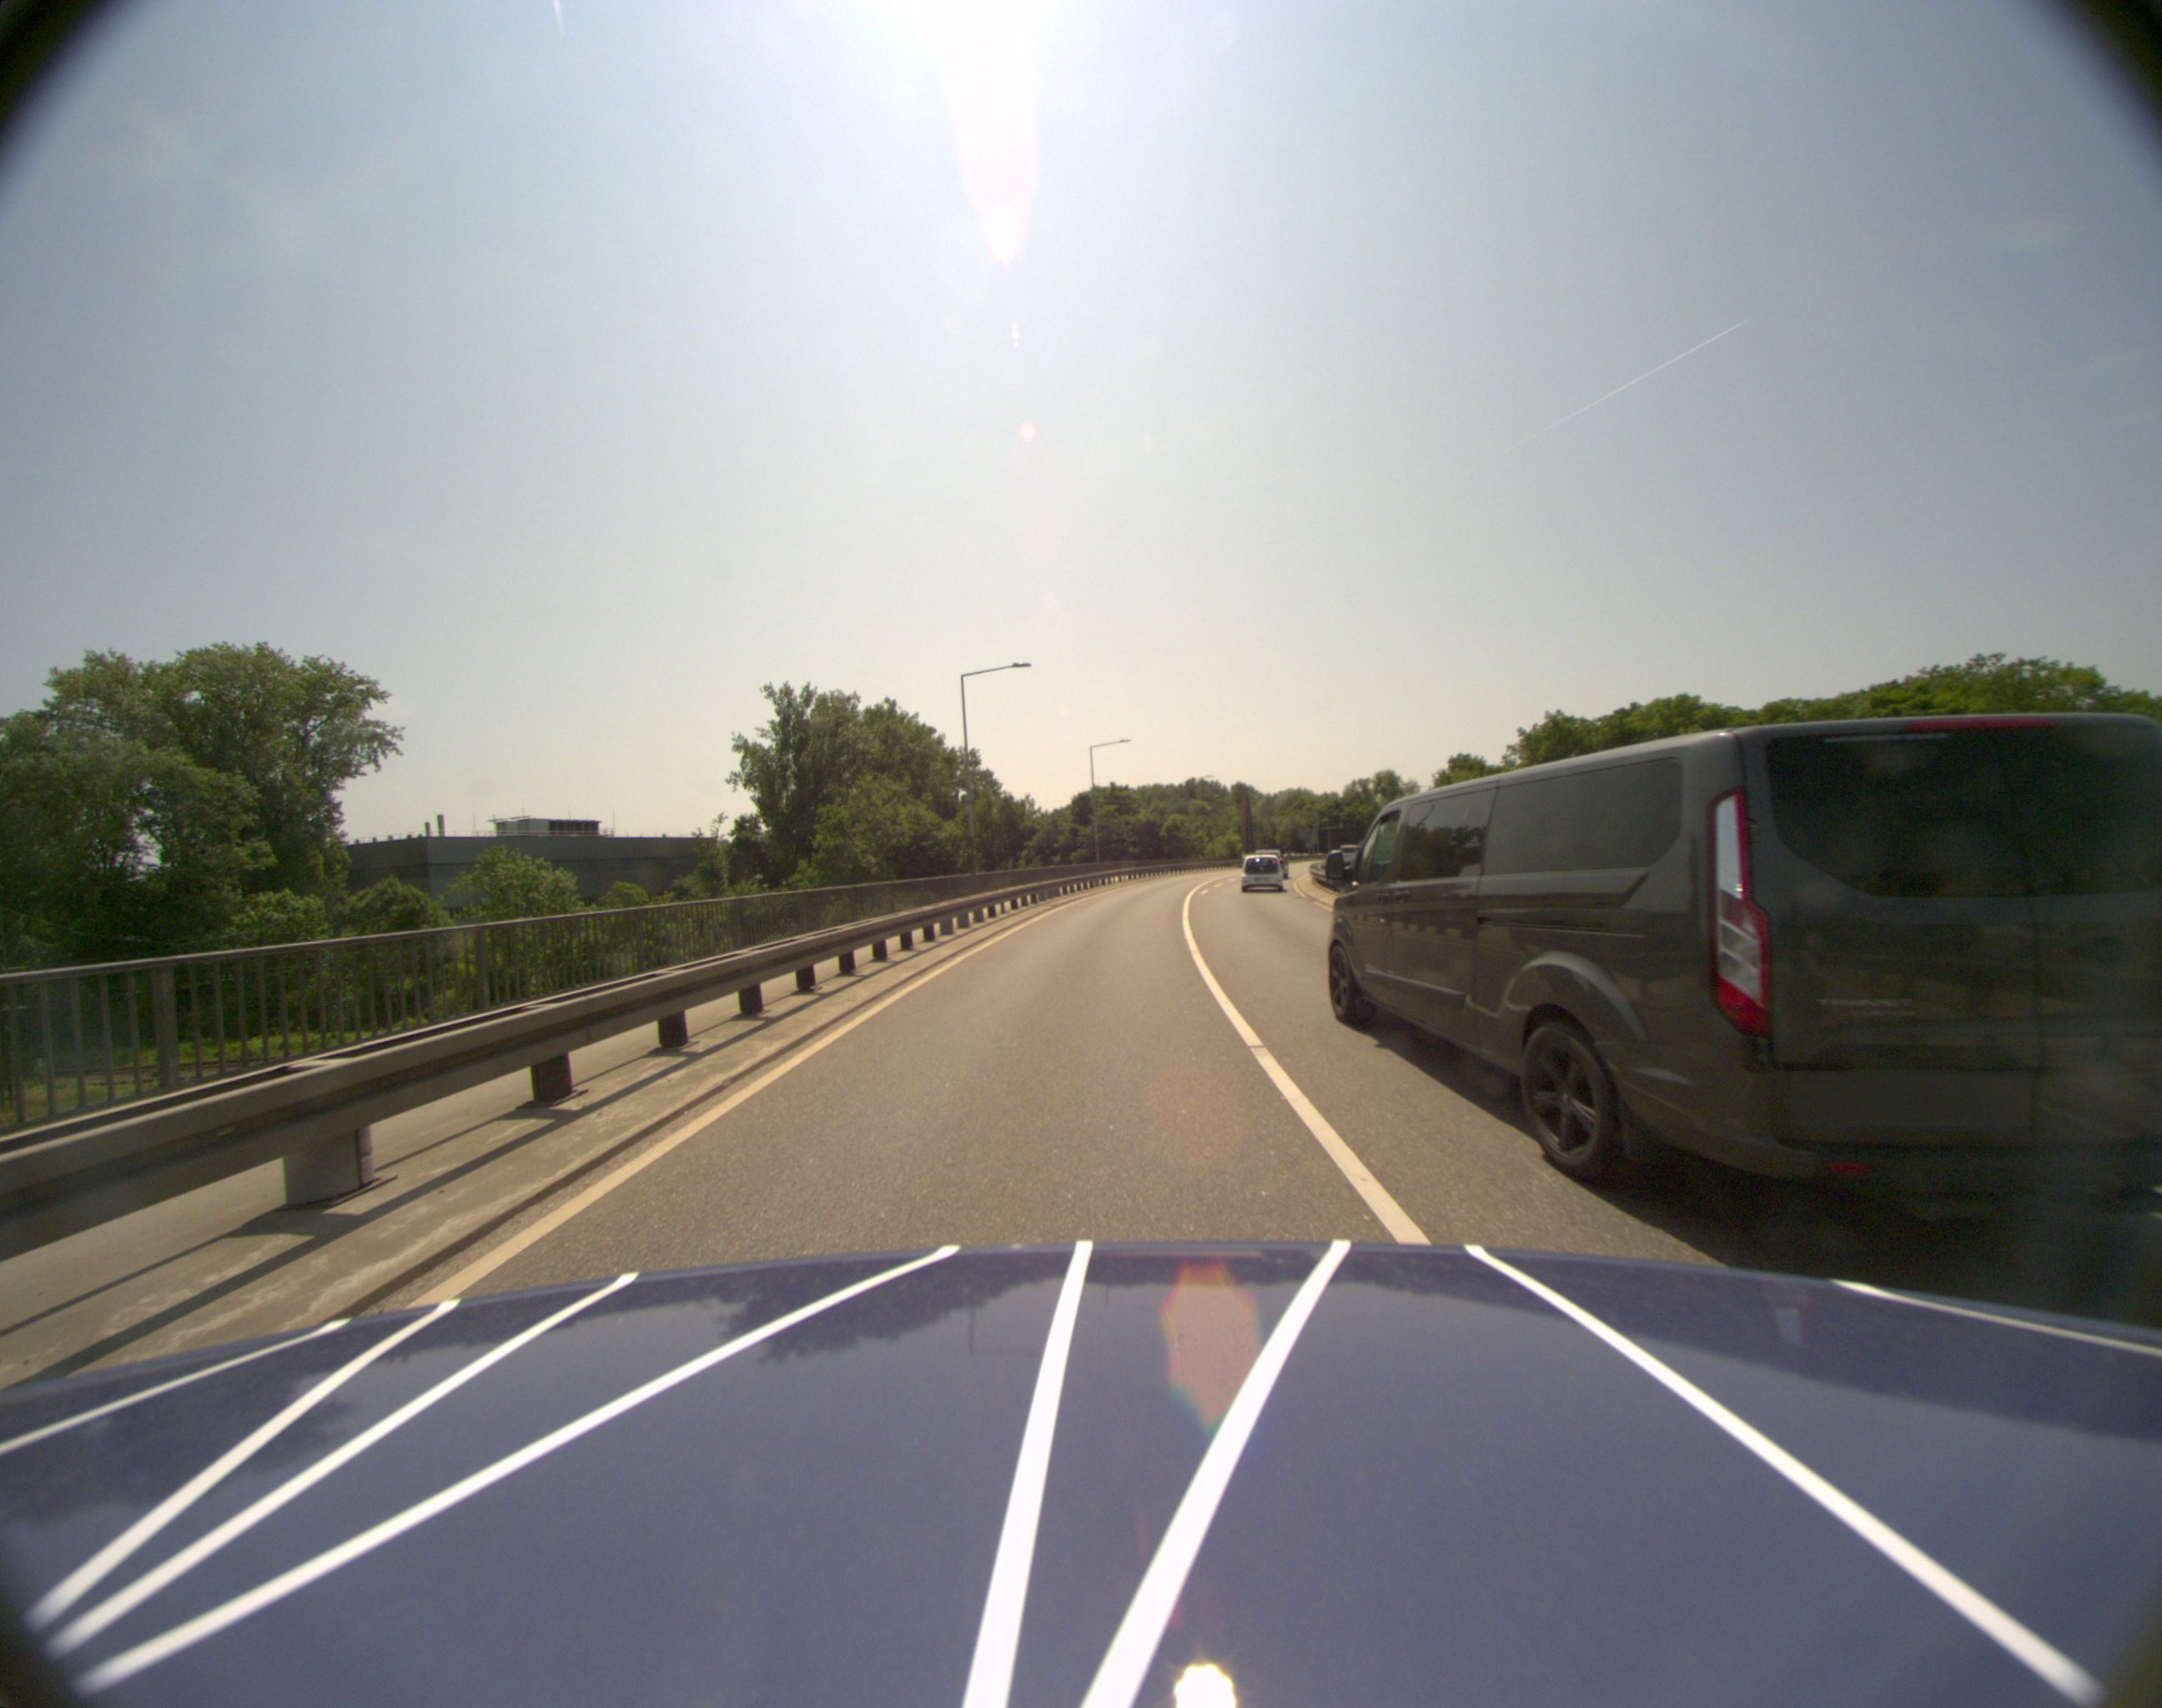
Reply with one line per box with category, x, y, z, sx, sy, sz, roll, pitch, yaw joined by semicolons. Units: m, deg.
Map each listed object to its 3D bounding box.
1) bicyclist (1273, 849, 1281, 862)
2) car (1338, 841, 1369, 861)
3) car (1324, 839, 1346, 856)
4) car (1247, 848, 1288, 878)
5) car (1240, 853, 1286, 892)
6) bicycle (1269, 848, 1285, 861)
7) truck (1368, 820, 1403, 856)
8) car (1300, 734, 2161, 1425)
bicyclist;25.411;0.186;98.704;0.671;1.589;0.690;-2;0;-23
car;28.136;-0.342;78.400;1.862;1.988;4.823;-1;0;33
car;33.049;-0.863;98.858;1.995;2.002;4.007;-2;0;28
car;10.800;0.506;43.878;1.843;1.626;4.239;-1;0;19
car;7.383;0.723;31.005;1.667;1.455;3.490;-2;0;12
bicycle;25.409;0.090;98.671;0.657;1.564;2.370;-2;0;-23
truck;35.591;-1.847;88.727;2.707;3.968;6.198;0;0;33
car;3.182;0.601;4.796;2.012;1.947;5.270;-2;1;0
